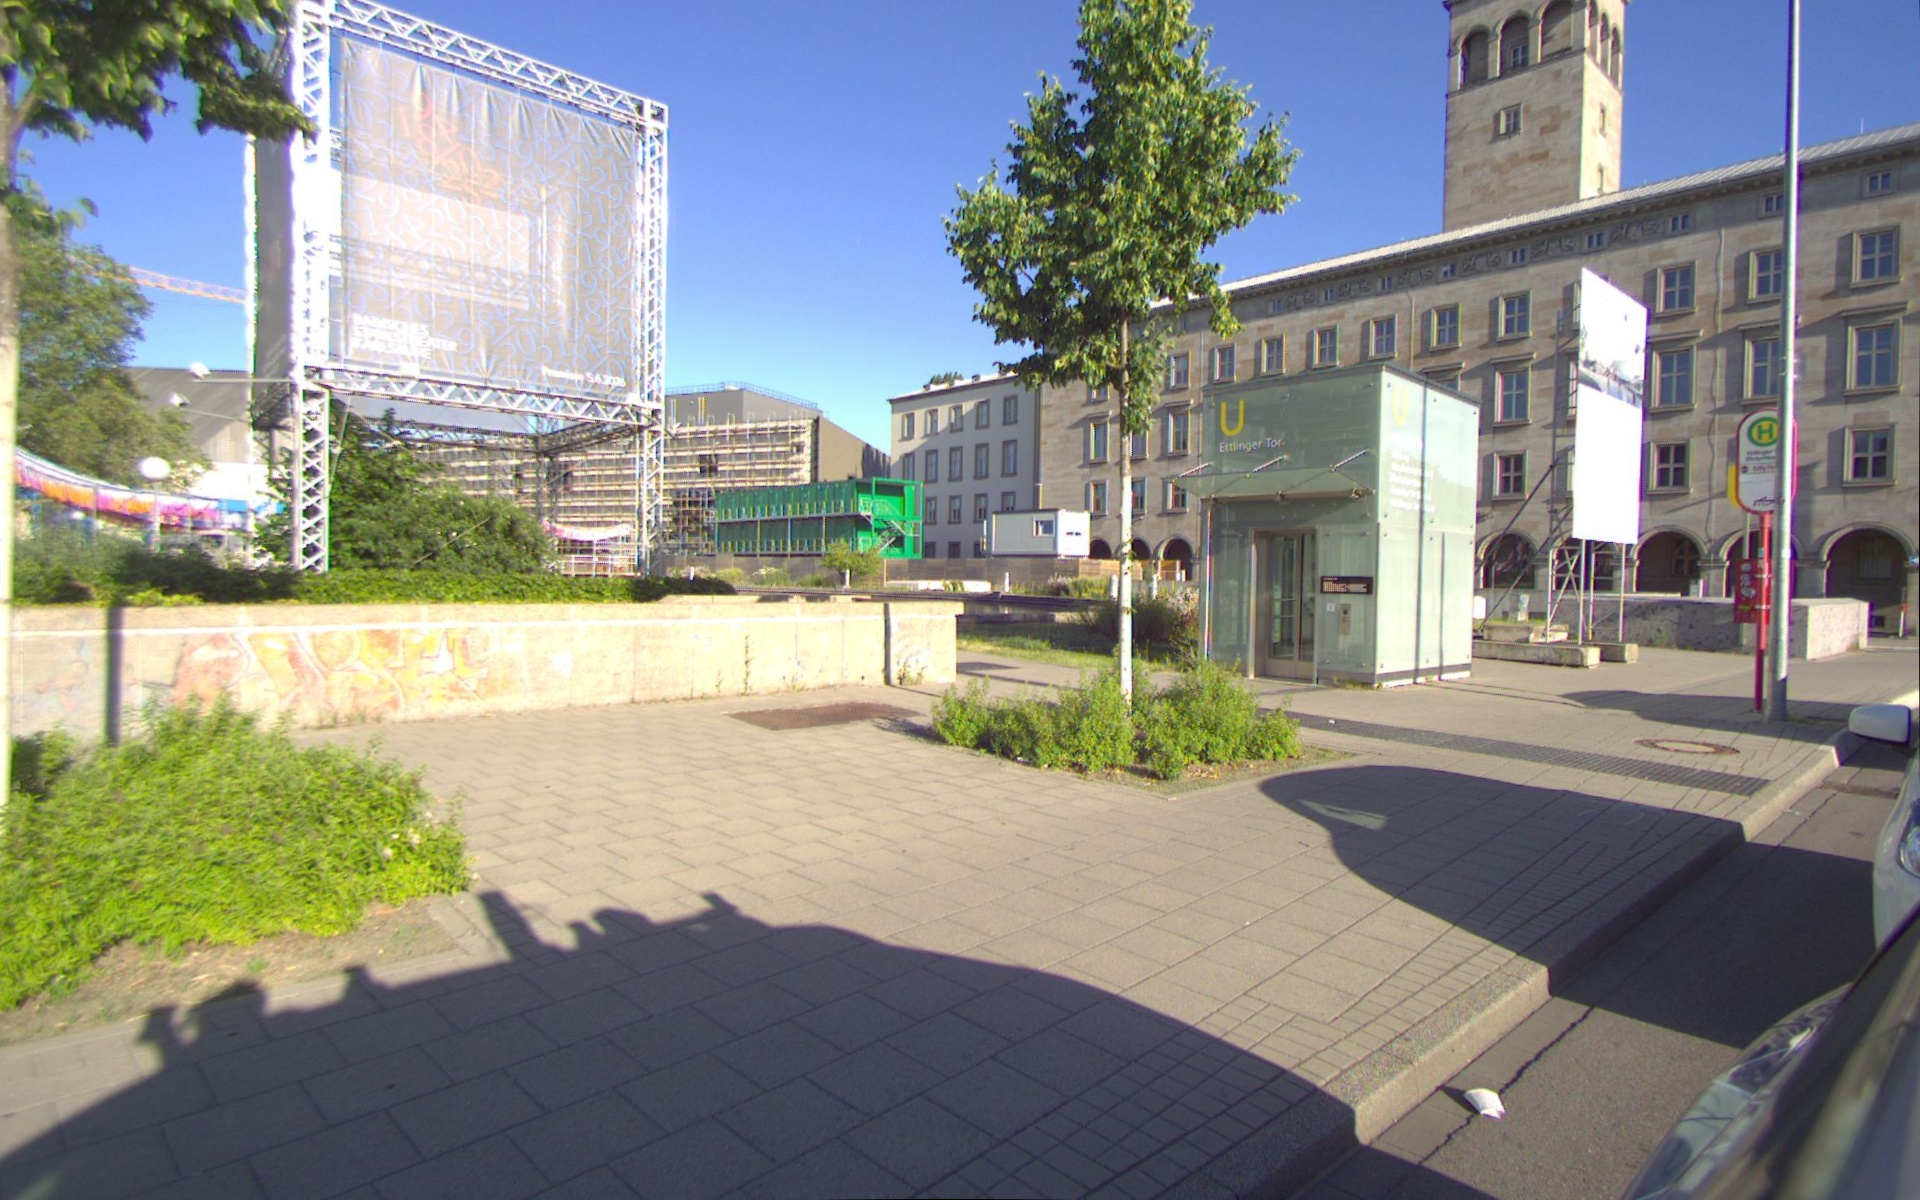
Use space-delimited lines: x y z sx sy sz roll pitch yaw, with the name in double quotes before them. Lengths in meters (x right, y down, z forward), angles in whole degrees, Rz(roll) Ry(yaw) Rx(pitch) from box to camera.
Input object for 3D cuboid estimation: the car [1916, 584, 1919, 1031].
"car" 5.045 0.709 4.003 3.541 1.504 1.495 0 0 -41
